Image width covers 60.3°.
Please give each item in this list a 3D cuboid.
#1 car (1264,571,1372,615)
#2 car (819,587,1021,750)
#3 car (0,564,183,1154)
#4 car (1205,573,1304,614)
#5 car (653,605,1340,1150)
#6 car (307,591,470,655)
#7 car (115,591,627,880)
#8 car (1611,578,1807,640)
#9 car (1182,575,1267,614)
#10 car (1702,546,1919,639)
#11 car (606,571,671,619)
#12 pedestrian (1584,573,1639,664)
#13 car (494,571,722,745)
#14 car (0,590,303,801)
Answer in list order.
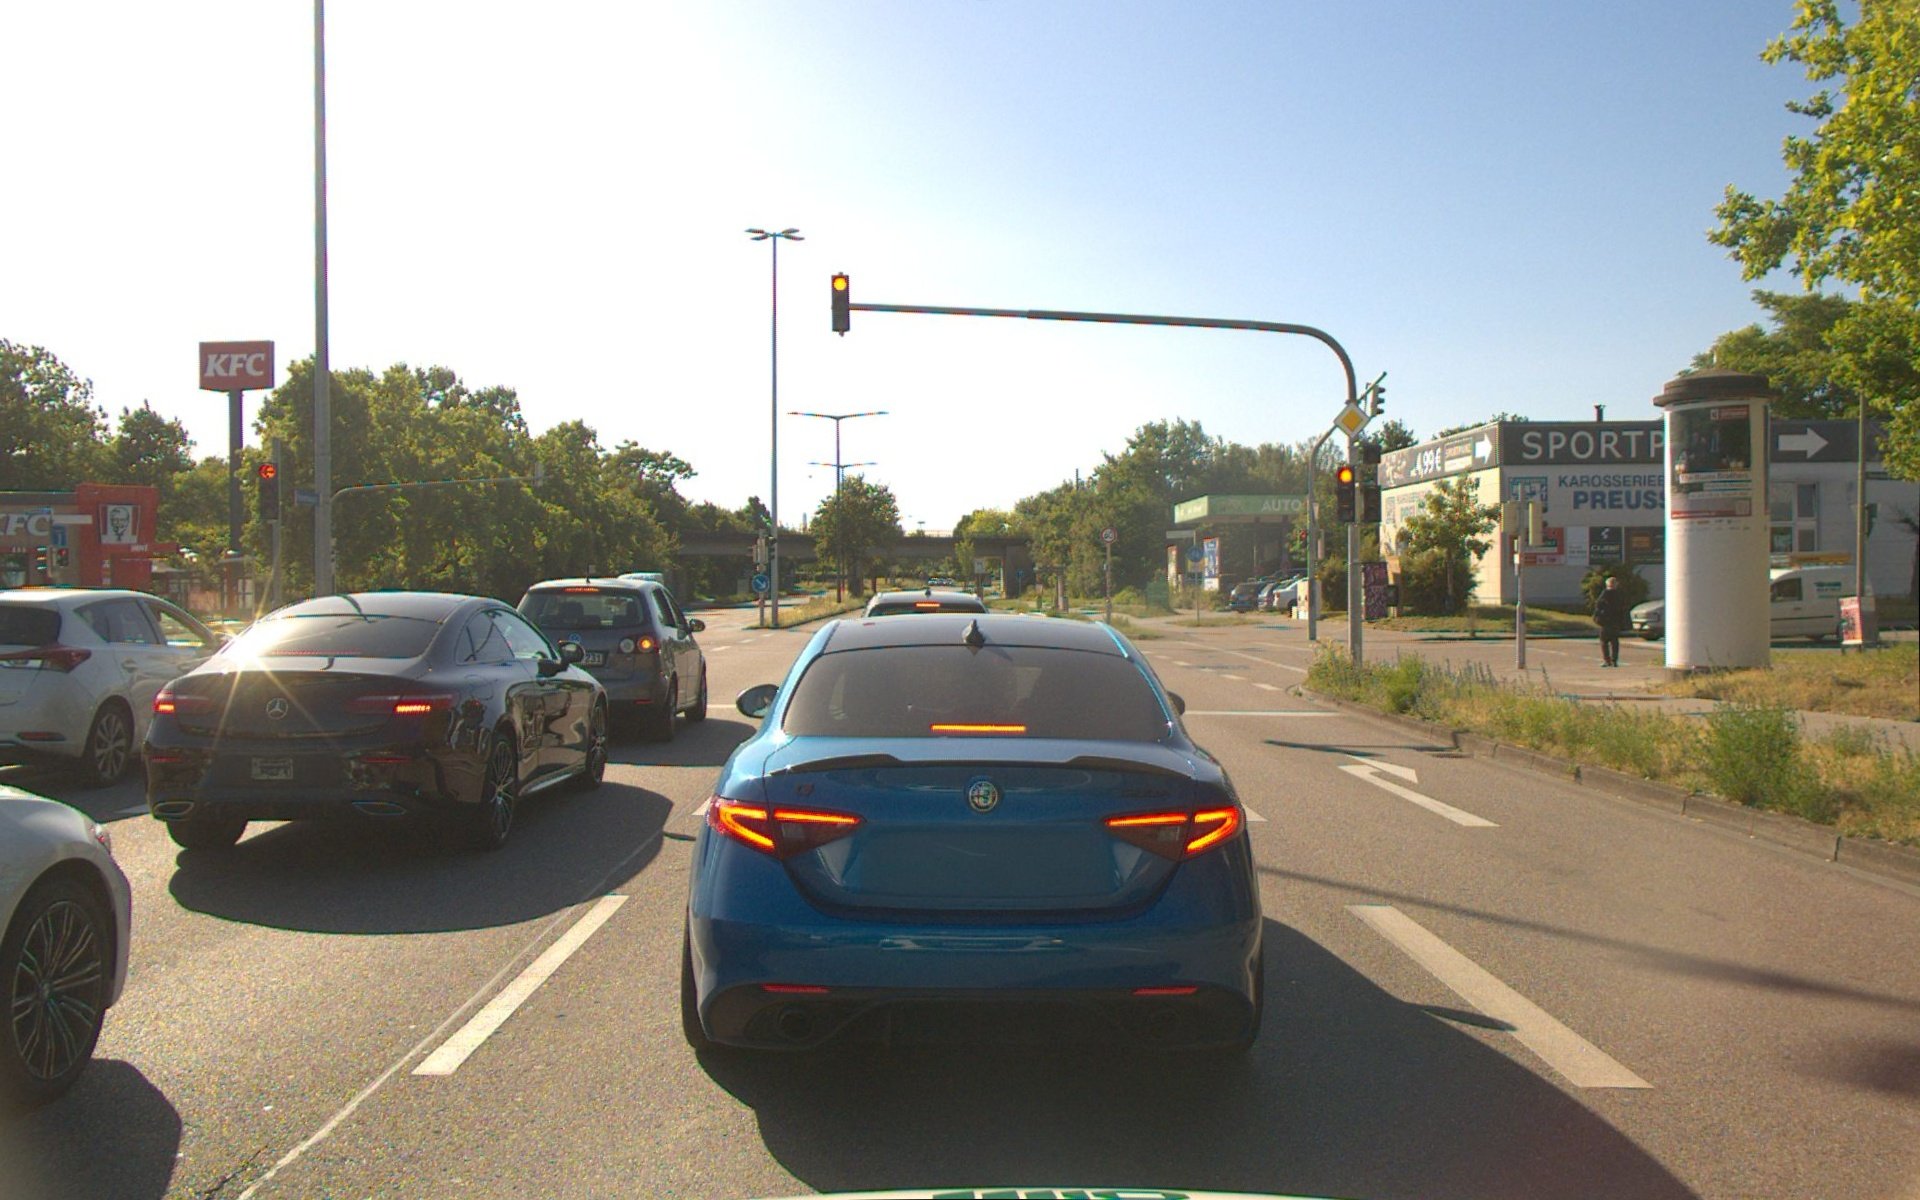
[{"bbox_3d":[14.345,-0.278,66.324,3.923,1.736,1.687,0,0,-17],"label":"car"},{"bbox_3d":[-0.391,0.611,17.055,1.828,1.475,3.931,0,0,-1],"label":"car"},{"bbox_3d":[-3.347,0.685,3.097,1.732,1.535,4.460,0,0,-1],"label":"car"},{"bbox_3d":[12.672,-0.267,71.154,3.928,1.736,1.686,0,0,-20],"label":"car"},{"bbox_3d":[0.074,0.749,6.384,1.828,1.409,3.931,0,0,-1],"label":"car"},{"bbox_3d":[-15.111,0.580,43.705,3.982,1.622,1.812,0,0,-23],"label":"car"},{"bbox_3d":[-3.413,0.672,10.570,1.732,1.439,4.460,0,0,-1],"label":"car"},{"bbox_3d":[19.759,0.224,43.729,4.318,1.580,1.998,0,0,-4],"label":"car"},{"bbox_3d":[11.877,-0.262,74.332,3.428,1.736,1.688,0,0,-16],"label":"car"},{"bbox_3d":[20.603,-0.190,40.160,4.318,2.183,1.998,0,0,-4],"label":"car"},{"bbox_3d":[-16.866,-0.291,87.094,2.382,2.469,5.830,0,0,-1],"label":"car"},{"bbox_3d":[12.674,0.355,32.205,0.805,1.752,0.854,0,0,6],"label":"pedestrian"},{"bbox_3d":[-3.586,0.526,17.486,1.615,1.626,3.931,0,0,-1],"label":"car"},{"bbox_3d":[-7.182,0.650,13.651,1.819,1.454,4.403,0,0,-1],"label":"car"}]
